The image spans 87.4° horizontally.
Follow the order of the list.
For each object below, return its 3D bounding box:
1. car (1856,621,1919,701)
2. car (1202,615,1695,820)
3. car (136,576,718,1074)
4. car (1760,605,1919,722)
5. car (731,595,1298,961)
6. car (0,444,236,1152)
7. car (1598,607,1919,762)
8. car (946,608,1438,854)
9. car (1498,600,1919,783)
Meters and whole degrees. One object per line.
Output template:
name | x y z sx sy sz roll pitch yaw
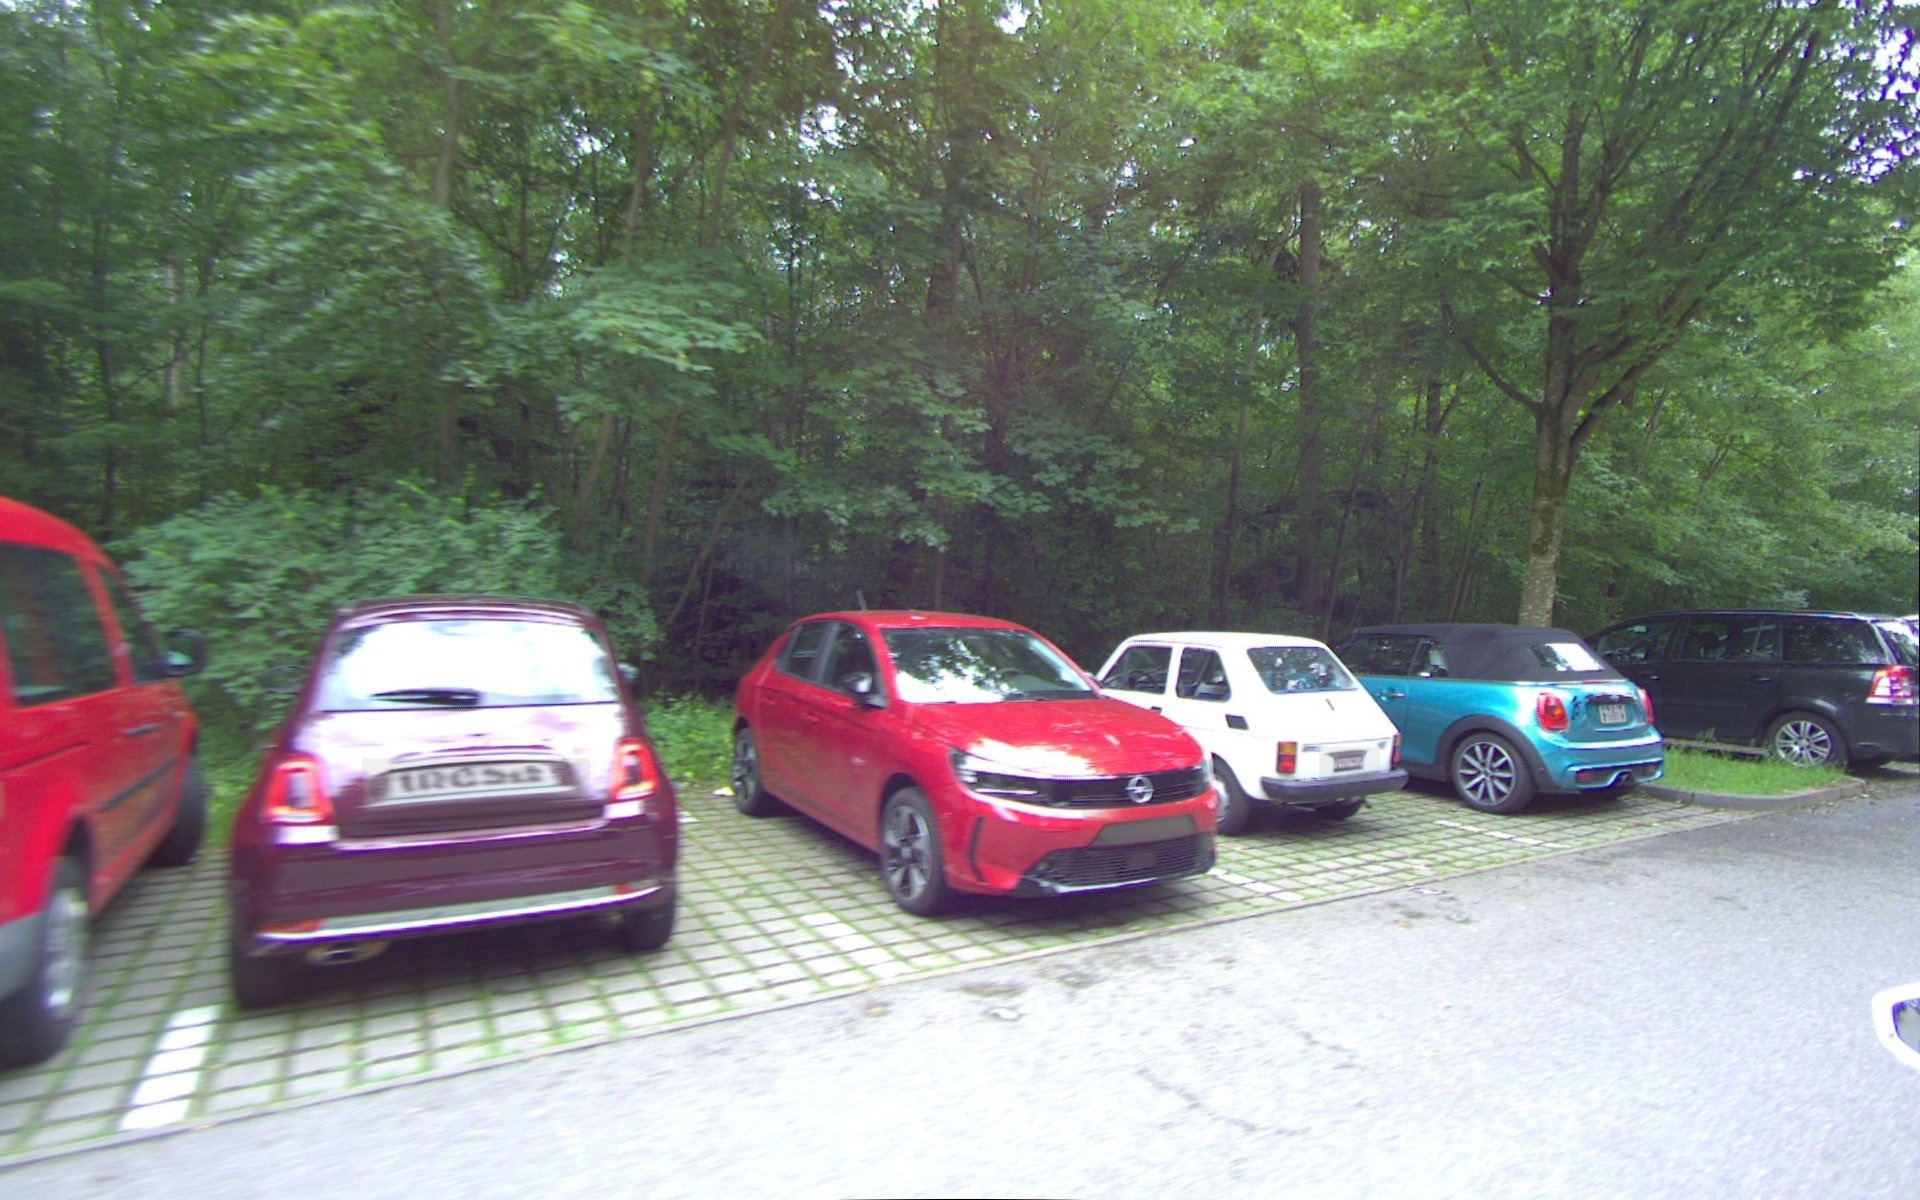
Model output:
car | 18.914 1.186 17.979 1.628 1.454 3.971 3 -1 -28
car | 4.242 0.888 9.415 1.674 1.467 3.972 1 -1 -27
car | -2.719 0.713 5.284 1.796 1.536 3.969 1 -1 -29
car | 14.734 0.942 15.033 1.794 1.684 3.966 1 -1 -31
car | -0.016 0.764 6.392 1.750 1.536 3.969 1 -1 -29
car | -4.190 0.501 3.899 1.797 1.839 3.968 1 -1 -30
car | 10.589 0.953 12.642 1.792 1.684 3.970 1 -1 -29
car | 1.597 0.825 8.278 1.750 1.467 3.969 1 -1 -29
car | 8.500 0.876 11.385 1.677 1.684 3.966 1 -1 -31
